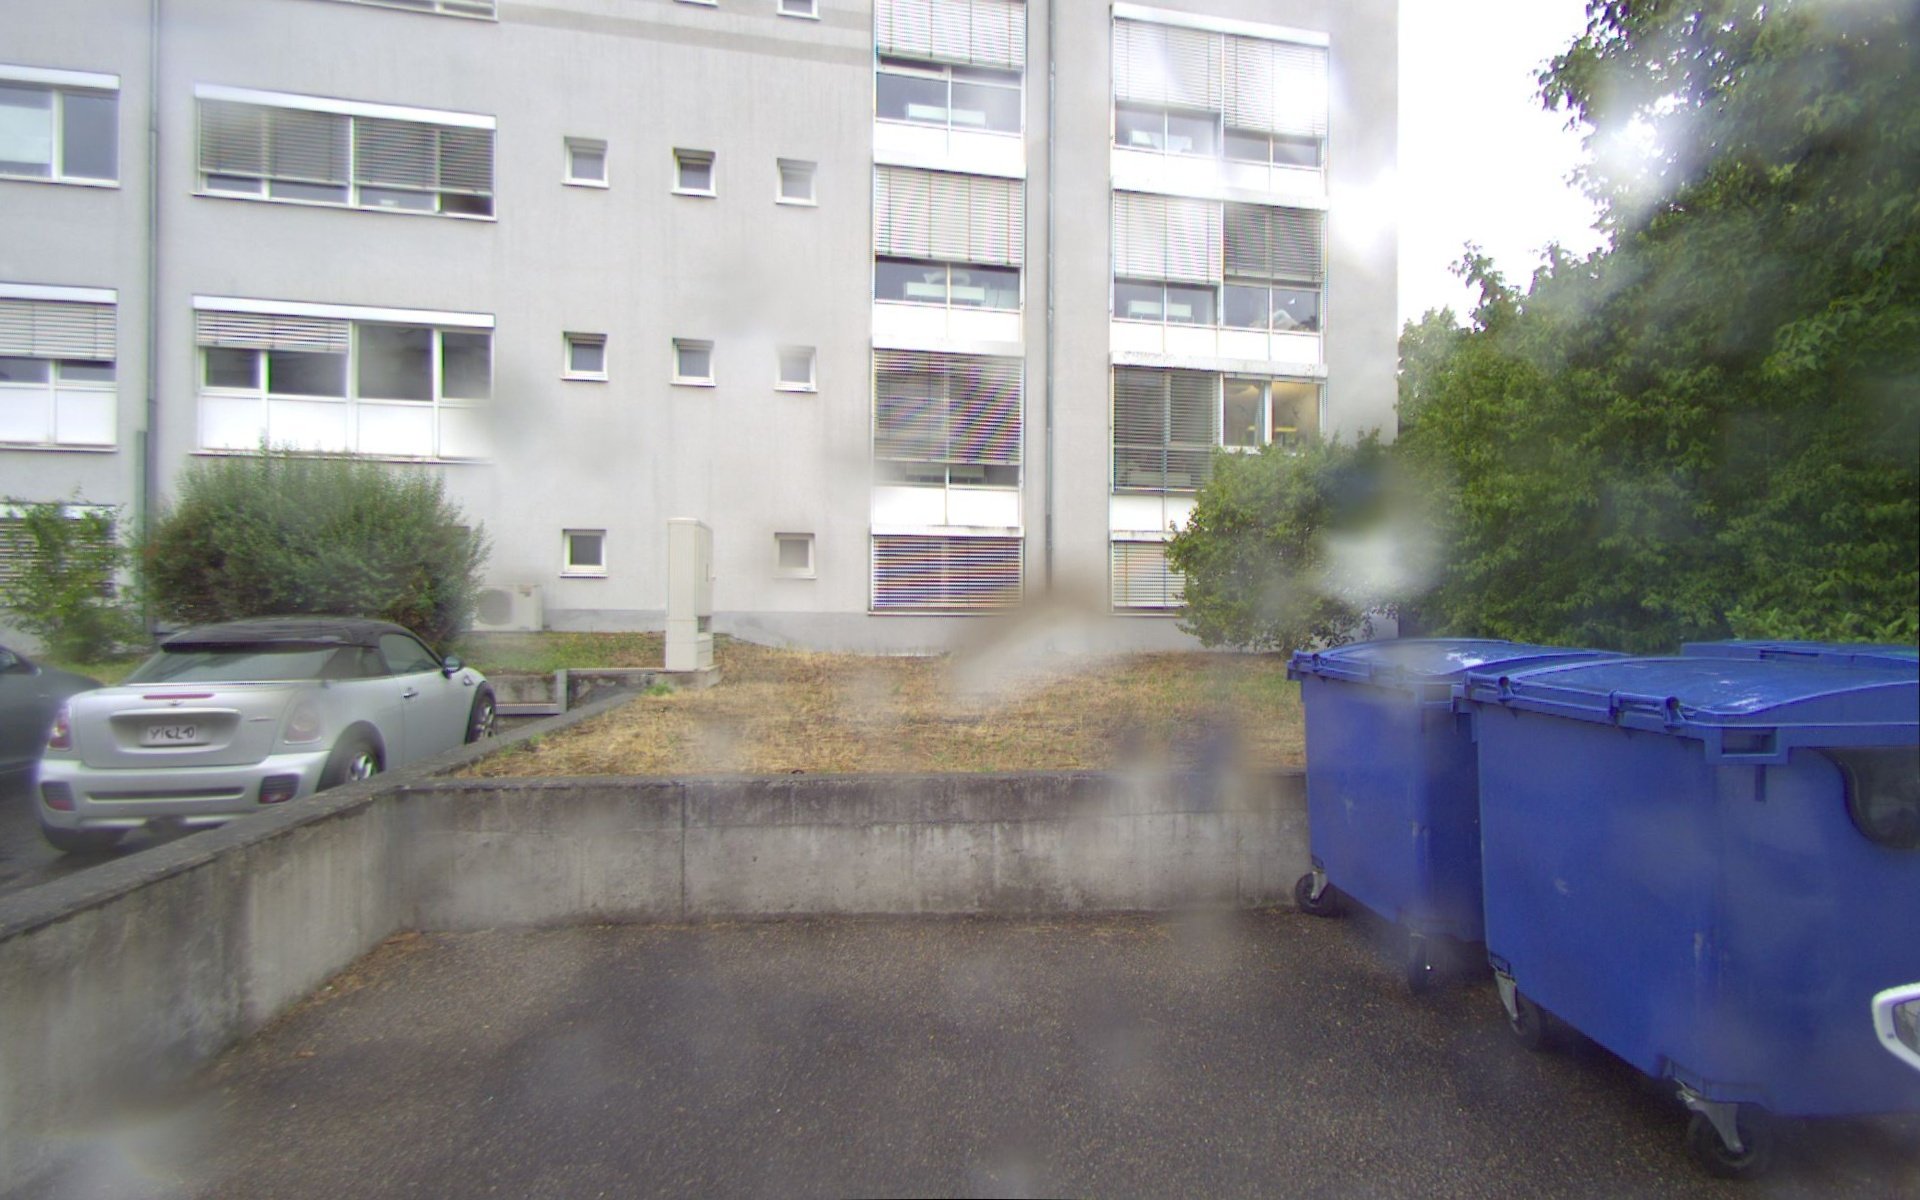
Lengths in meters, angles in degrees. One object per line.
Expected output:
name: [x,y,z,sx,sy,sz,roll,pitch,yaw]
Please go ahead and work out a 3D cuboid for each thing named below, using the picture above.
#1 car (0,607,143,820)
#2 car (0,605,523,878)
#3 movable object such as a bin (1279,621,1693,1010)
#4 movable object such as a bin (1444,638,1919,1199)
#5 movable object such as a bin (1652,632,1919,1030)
car: [-7.582,0.800,6.479,1.790,1.503,4.171,0,-1,-10]
car: [-4.868,0.788,7.671,1.789,1.351,4.171,0,2,-9]
movable object such as a bin: [2.152,0.803,4.322,1.095,1.355,1.205,-2,1,-5]
movable object such as a bin: [2.294,0.809,3.005,1.095,1.355,1.206,1,-1,-1]
movable object such as a bin: [3.787,0.826,4.126,0.987,1.355,1.224,-1,-1,-5]
